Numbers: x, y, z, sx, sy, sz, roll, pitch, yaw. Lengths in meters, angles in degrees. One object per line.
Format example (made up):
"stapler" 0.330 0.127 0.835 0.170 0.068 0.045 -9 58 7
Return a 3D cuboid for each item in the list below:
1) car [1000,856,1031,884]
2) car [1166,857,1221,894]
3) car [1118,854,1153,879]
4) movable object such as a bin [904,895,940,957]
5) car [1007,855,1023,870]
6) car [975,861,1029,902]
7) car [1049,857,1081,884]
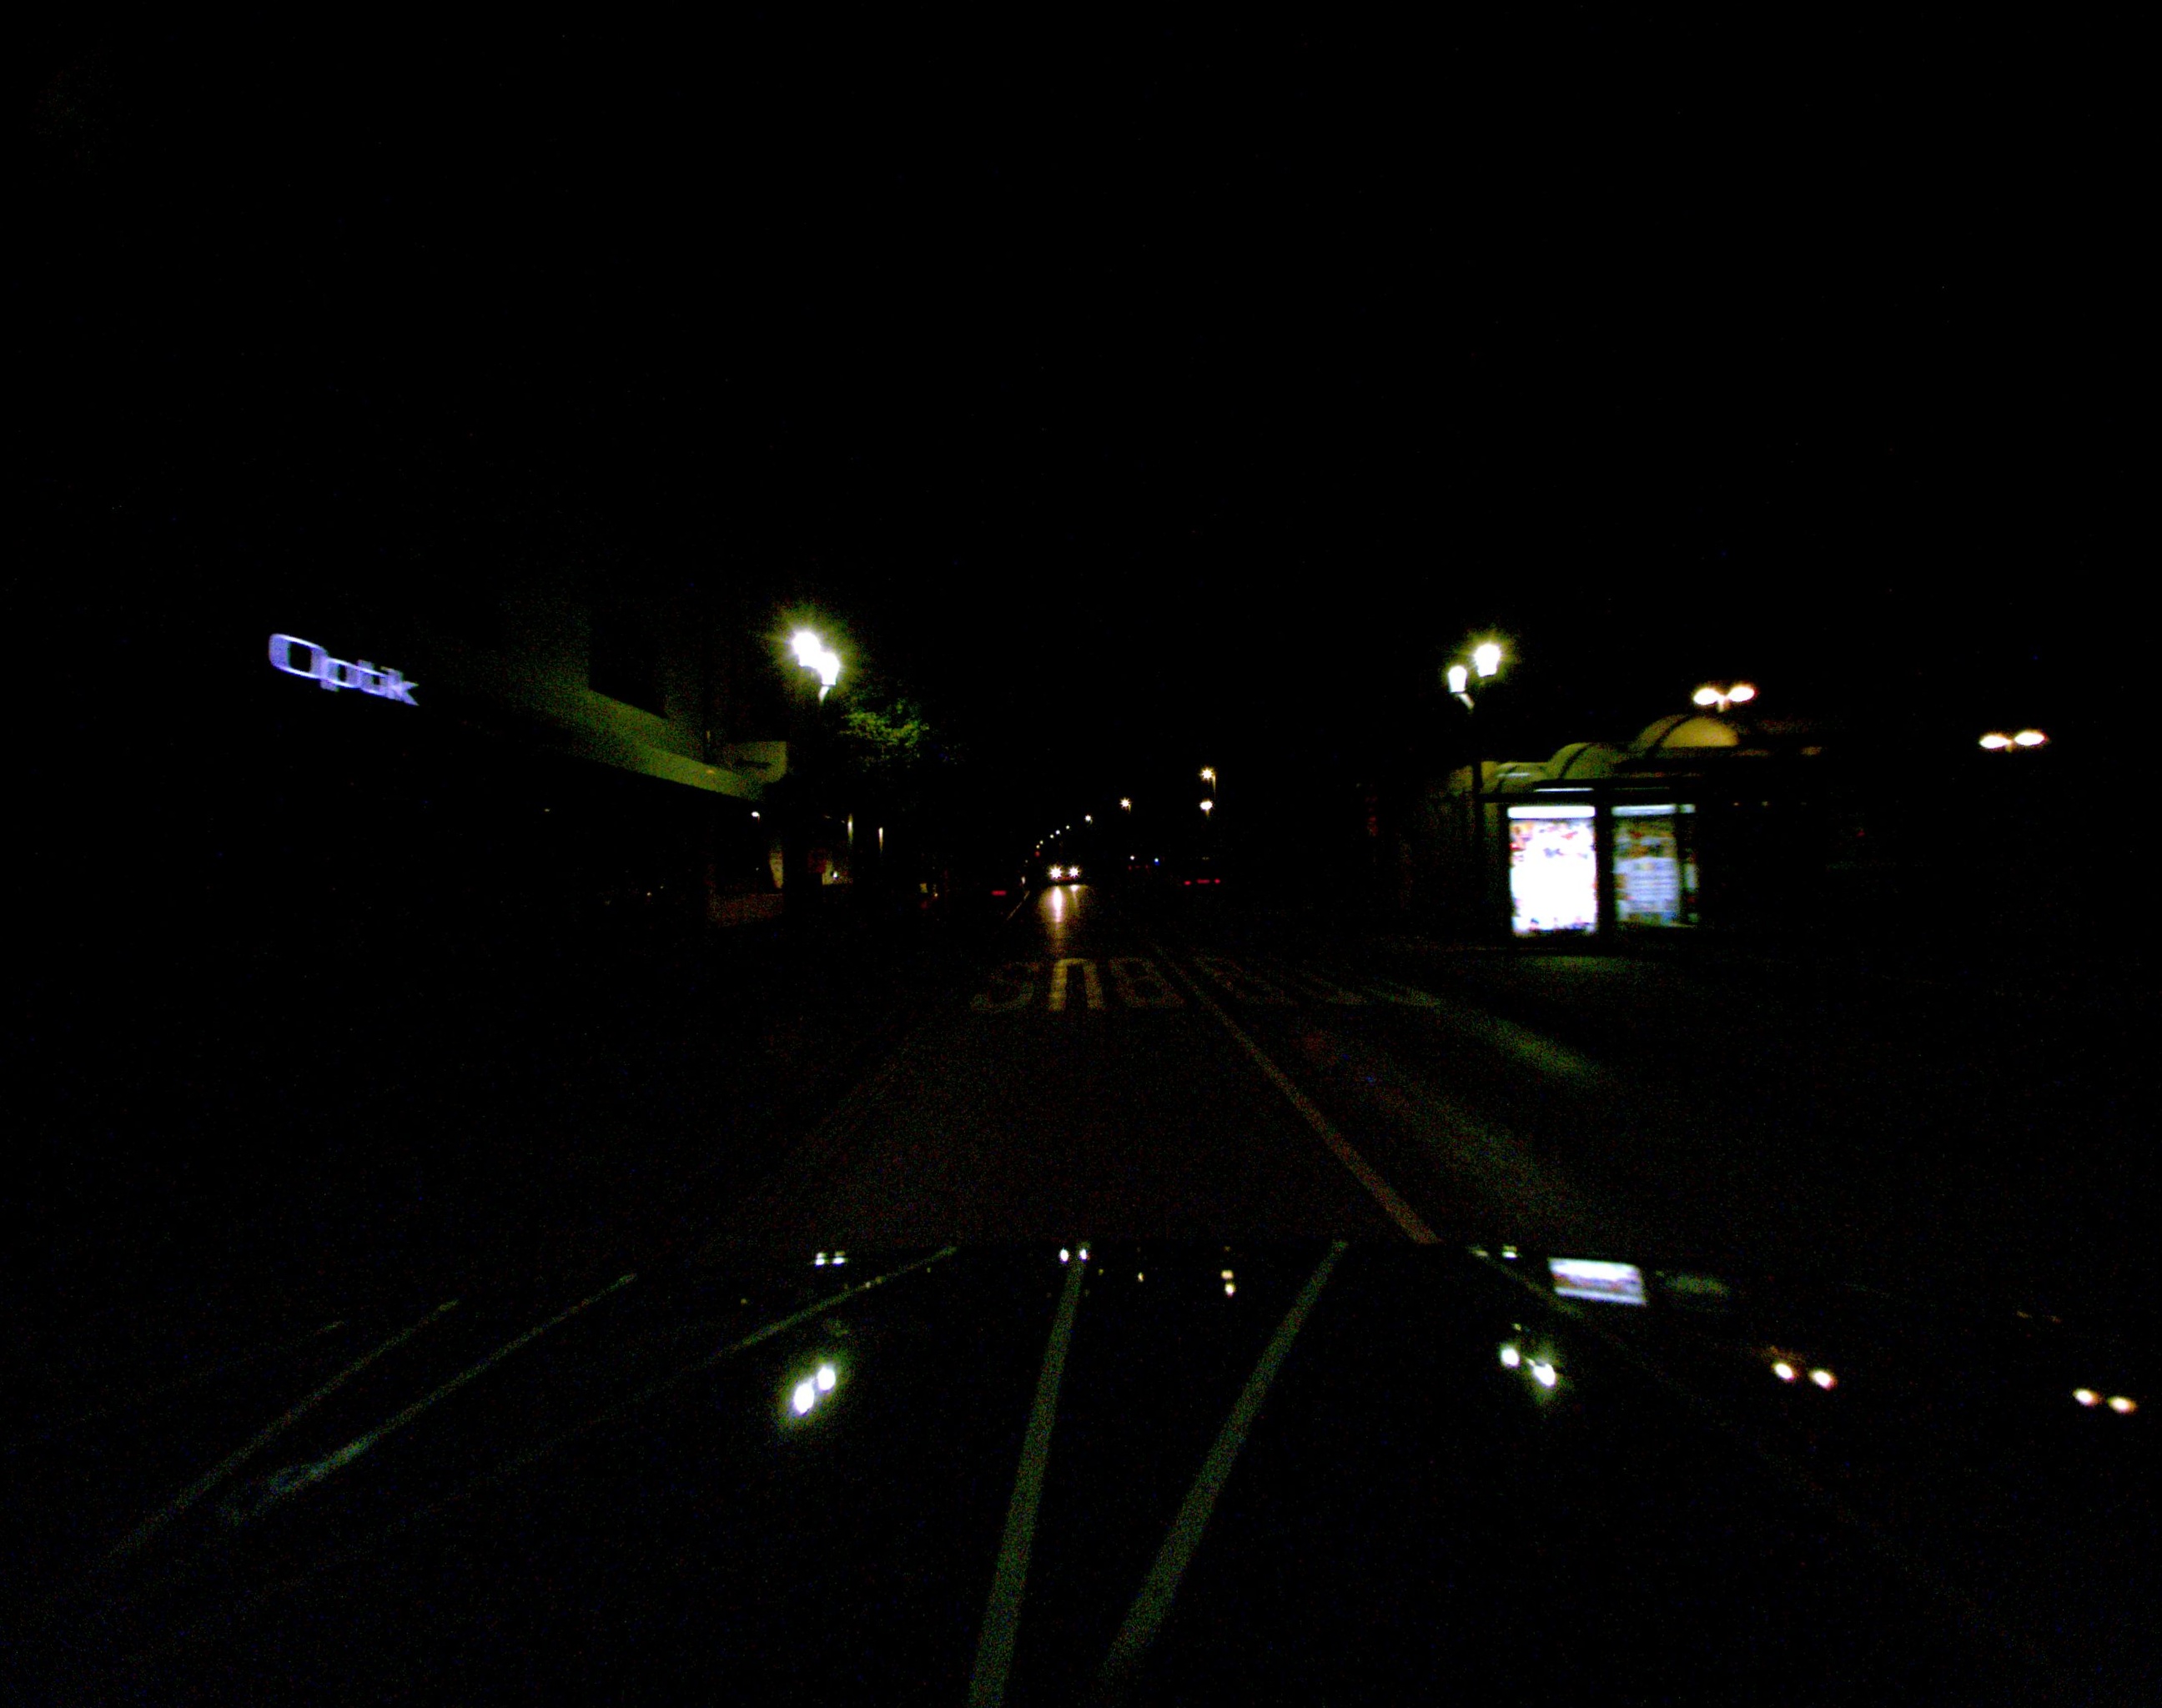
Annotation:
"car" -3.920 0.938 46.209 1.792 1.632 4.378 0 0 -4
"car" 4.996 0.926 34.353 1.696 1.428 4.127 -3 0 -2
"car" 3.681 0.799 51.736 1.697 1.515 3.688 -2 1 -6
"movable object such as a bin" -2.640 1.185 12.641 0.525 0.932 0.629 -2 2 -11
"car" -7.193 0.885 82.790 1.643 1.458 3.774 -3 1 -5
"car" -3.037 1.021 29.929 1.863 1.433 4.592 0 0 -3
"car" -1.007 0.982 46.462 1.628 1.496 3.548 -2 0 -6
